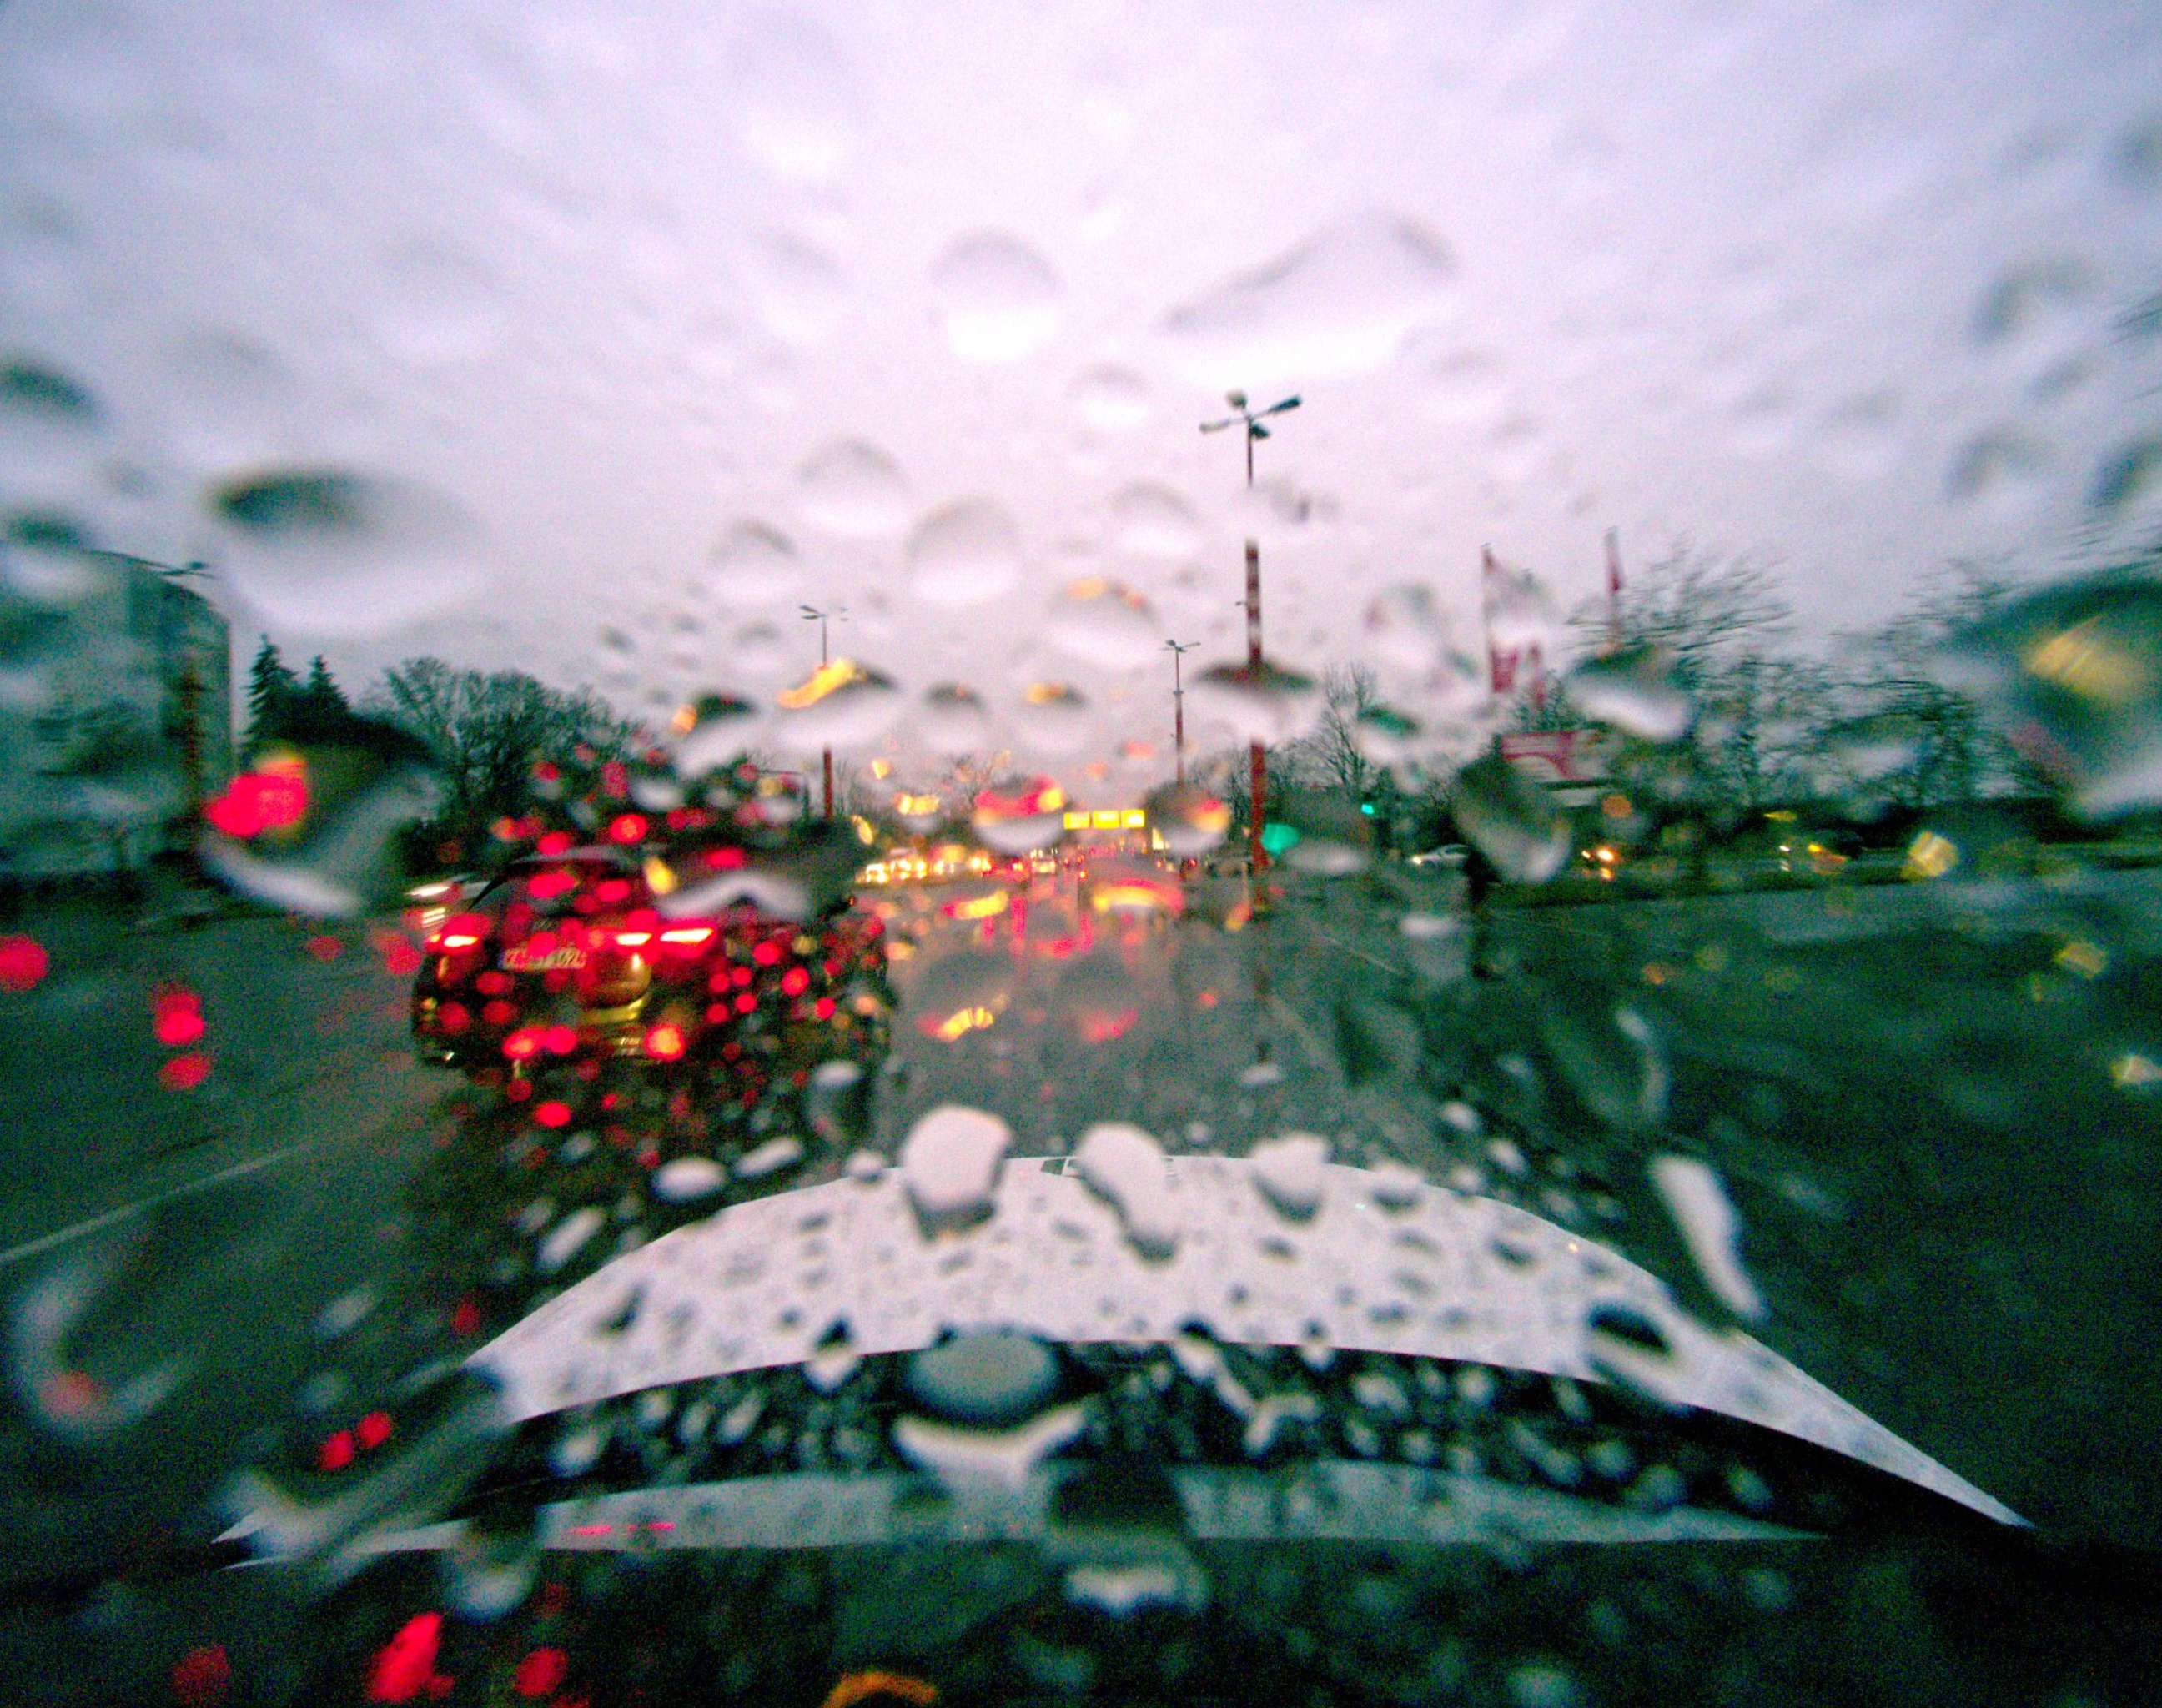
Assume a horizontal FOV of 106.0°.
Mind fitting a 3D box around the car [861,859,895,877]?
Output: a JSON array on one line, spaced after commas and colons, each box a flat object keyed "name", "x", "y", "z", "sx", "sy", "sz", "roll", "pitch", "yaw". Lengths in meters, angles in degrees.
[{"name": "car", "x": -19.090, "y": 1.263, "z": 76.806, "sx": 1.762, "sy": 1.536, "sz": 4.450, "roll": -2, "pitch": 0, "yaw": 3}]

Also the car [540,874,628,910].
[{"name": "car", "x": -23.821, "y": 1.780, "z": 39.235, "sx": 1.612, "sy": 1.495, "sz": 4.019, "roll": -2, "pitch": 0, "yaw": 2}]

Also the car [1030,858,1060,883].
[{"name": "car", "x": -2.549, "y": 1.169, "z": 58.541, "sx": 1.815, "sy": 1.648, "sz": 4.003, "roll": -1, "pitch": 0, "yaw": 3}]

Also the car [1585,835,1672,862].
[{"name": "car", "x": 29.150, "y": -0.301, "z": 43.379, "sx": 3.994, "sy": 1.309, "sz": 1.629, "roll": -2, "pitch": 0, "yaw": -15}]

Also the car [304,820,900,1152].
[{"name": "car", "x": -2.942, "y": 0.676, "z": 6.370, "sx": 1.815, "sy": 1.648, "sz": 4.469, "roll": -1, "pitch": 0, "yaw": 3}]

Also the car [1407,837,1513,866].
[{"name": "car", "x": 19.774, "y": -0.117, "z": 42.713, "sx": 4.708, "sy": 1.376, "sz": 1.889, "roll": -1, "pitch": 0, "yaw": 11}]

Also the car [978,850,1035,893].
[{"name": "car", "x": -3.068, "y": 0.706, "z": 34.466, "sx": 1.815, "sy": 1.648, "sz": 4.003, "roll": -1, "pitch": 0, "yaw": 3}]

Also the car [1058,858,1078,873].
[{"name": "car", "x": -1.164, "y": 1.018, "z": 74.635, "sx": 1.499, "sy": 1.339, "sz": 4.003, "roll": -1, "pitch": 0, "yaw": 3}]

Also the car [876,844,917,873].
[{"name": "car", "x": -19.338, "y": 0.484, "z": 85.704, "sx": 2.282, "sy": 3.005, "sz": 7.353, "roll": 0, "pitch": -1, "yaw": 3}]

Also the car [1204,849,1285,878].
[{"name": "car", "x": 9.737, "y": 0.570, "z": 48.583, "sx": 4.354, "sy": 1.618, "sz": 1.833, "roll": -2, "pitch": 0, "yaw": 41}]

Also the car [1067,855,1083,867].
[{"name": "car", "x": -0.762, "y": 0.874, "z": 106.331, "sx": 1.815, "sy": 1.504, "sz": 4.003, "roll": -1, "pitch": 0, "yaw": 3}]

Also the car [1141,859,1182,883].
[{"name": "car", "x": 5.595, "y": 1.150, "z": 57.150, "sx": 1.931, "sy": 1.648, "sz": 4.455, "roll": 0, "pitch": -1, "yaw": -7}]

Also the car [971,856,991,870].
[{"name": "car", "x": -12.308, "y": 1.099, "z": 100.738, "sx": 1.763, "sy": 1.536, "sz": 4.842, "roll": -2, "pitch": 0, "yaw": 1}]

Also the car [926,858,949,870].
[{"name": "car", "x": -17.960, "y": 1.244, "z": 101.819, "sx": 1.897, "sy": 1.446, "sz": 4.444, "roll": -1, "pitch": 0, "yaw": 2}]

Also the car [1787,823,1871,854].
[{"name": "car", "x": 43.461, "y": -0.901, "z": 47.327, "sx": 3.880, "sy": 1.635, "sz": 1.651, "roll": -2, "pitch": 0, "yaw": -12}]

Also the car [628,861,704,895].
[{"name": "car", "x": -21.116, "y": 1.195, "z": 41.647, "sx": 1.763, "sy": 1.553, "sz": 3.948, "roll": -2, "pitch": 0, "yaw": 1}]

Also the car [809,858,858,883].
[{"name": "car", "x": -16.707, "y": 1.091, "z": 55.178, "sx": 1.763, "sy": 1.533, "sz": 4.527, "roll": -2, "pitch": 0, "yaw": 1}]

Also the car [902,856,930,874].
[{"name": "car", "x": -15.802, "y": 1.060, "z": 78.096, "sx": 1.763, "sy": 1.586, "sz": 4.034, "roll": -2, "pitch": 0, "yaw": 1}]

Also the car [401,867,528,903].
[{"name": "car", "x": -30.230, "y": 1.510, "z": 40.115, "sx": 1.976, "sy": 1.529, "sz": 4.623, "roll": -2, "pitch": 0, "yaw": 22}]

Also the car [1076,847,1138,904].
[{"name": "car", "x": 0.897, "y": 0.647, "z": 26.826, "sx": 1.815, "sy": 1.648, "sz": 4.469, "roll": -2, "pitch": 0, "yaw": 3}]
